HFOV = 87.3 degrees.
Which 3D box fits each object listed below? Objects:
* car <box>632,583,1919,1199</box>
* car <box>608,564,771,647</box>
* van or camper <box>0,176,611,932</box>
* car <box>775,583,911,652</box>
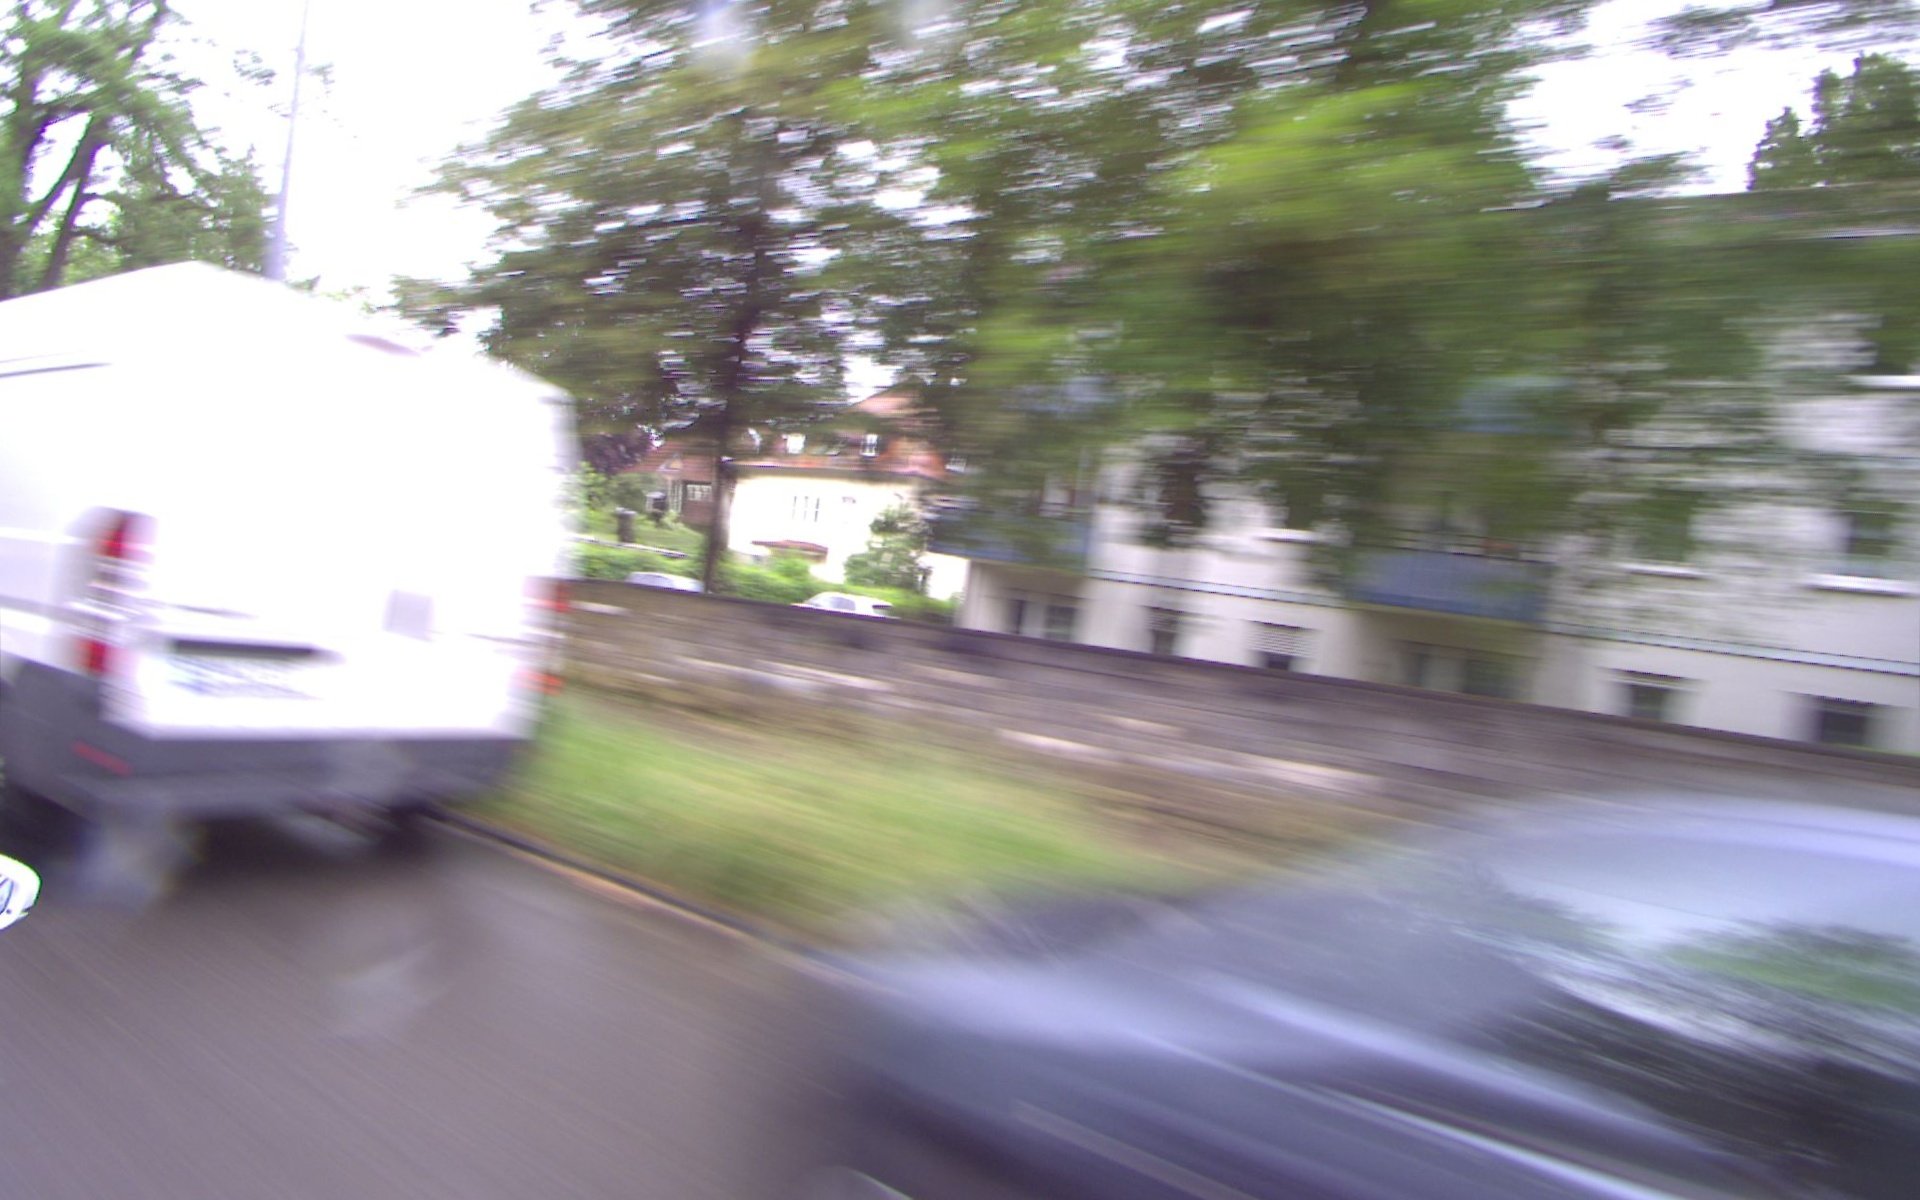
[{"bbox_3d":[1.363,0.991,1.734,3.747,1.481,1.628,8,-2,35],"label":"car"},{"bbox_3d":[-7.136,0.130,26.450,3.934,1.550,1.761,8,-2,32],"label":"car"},{"bbox_3d":[-4.788,-0.354,5.797,5.256,2.681,2.083,8,-1,31],"label":"van or camper"},{"bbox_3d":[-3.699,0.540,31.591,3.938,1.550,1.759,7,-2,36],"label":"car"}]
